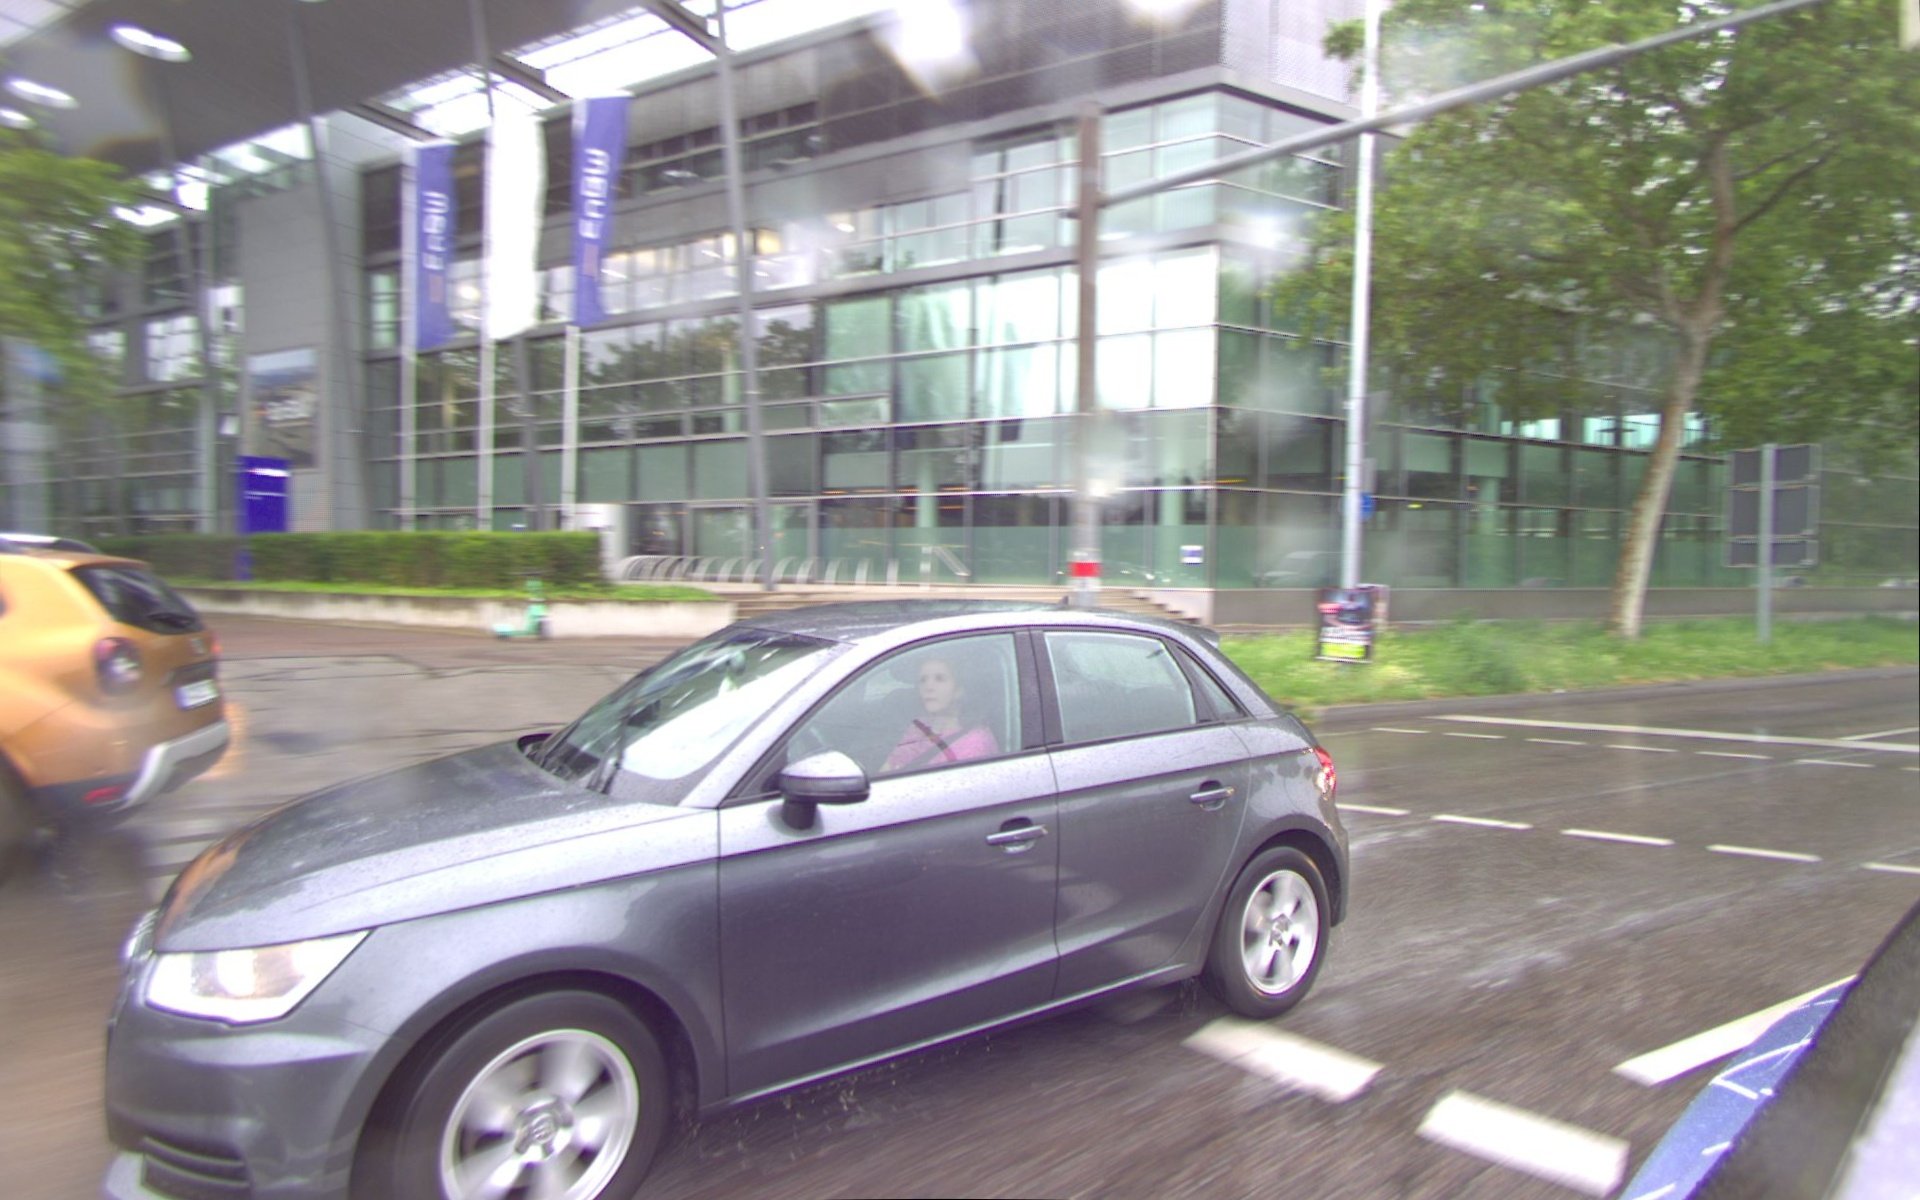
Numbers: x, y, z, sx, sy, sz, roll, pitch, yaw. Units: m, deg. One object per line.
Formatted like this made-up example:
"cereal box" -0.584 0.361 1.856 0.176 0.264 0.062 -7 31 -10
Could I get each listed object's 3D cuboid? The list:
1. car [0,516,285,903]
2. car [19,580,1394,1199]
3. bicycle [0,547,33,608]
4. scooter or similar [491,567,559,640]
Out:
"car" -5.772 0.435 4.679 4.082 1.652 1.911 0 2 -21
"car" -0.468 0.646 3.408 3.681 1.415 1.843 -1 1 -33
"bicycle" -24.025 -0.533 24.222 2.616 1.460 0.808 0 0 -16
"scooter or similar" -7.178 0.047 16.707 1.162 1.152 0.338 2 2 24
